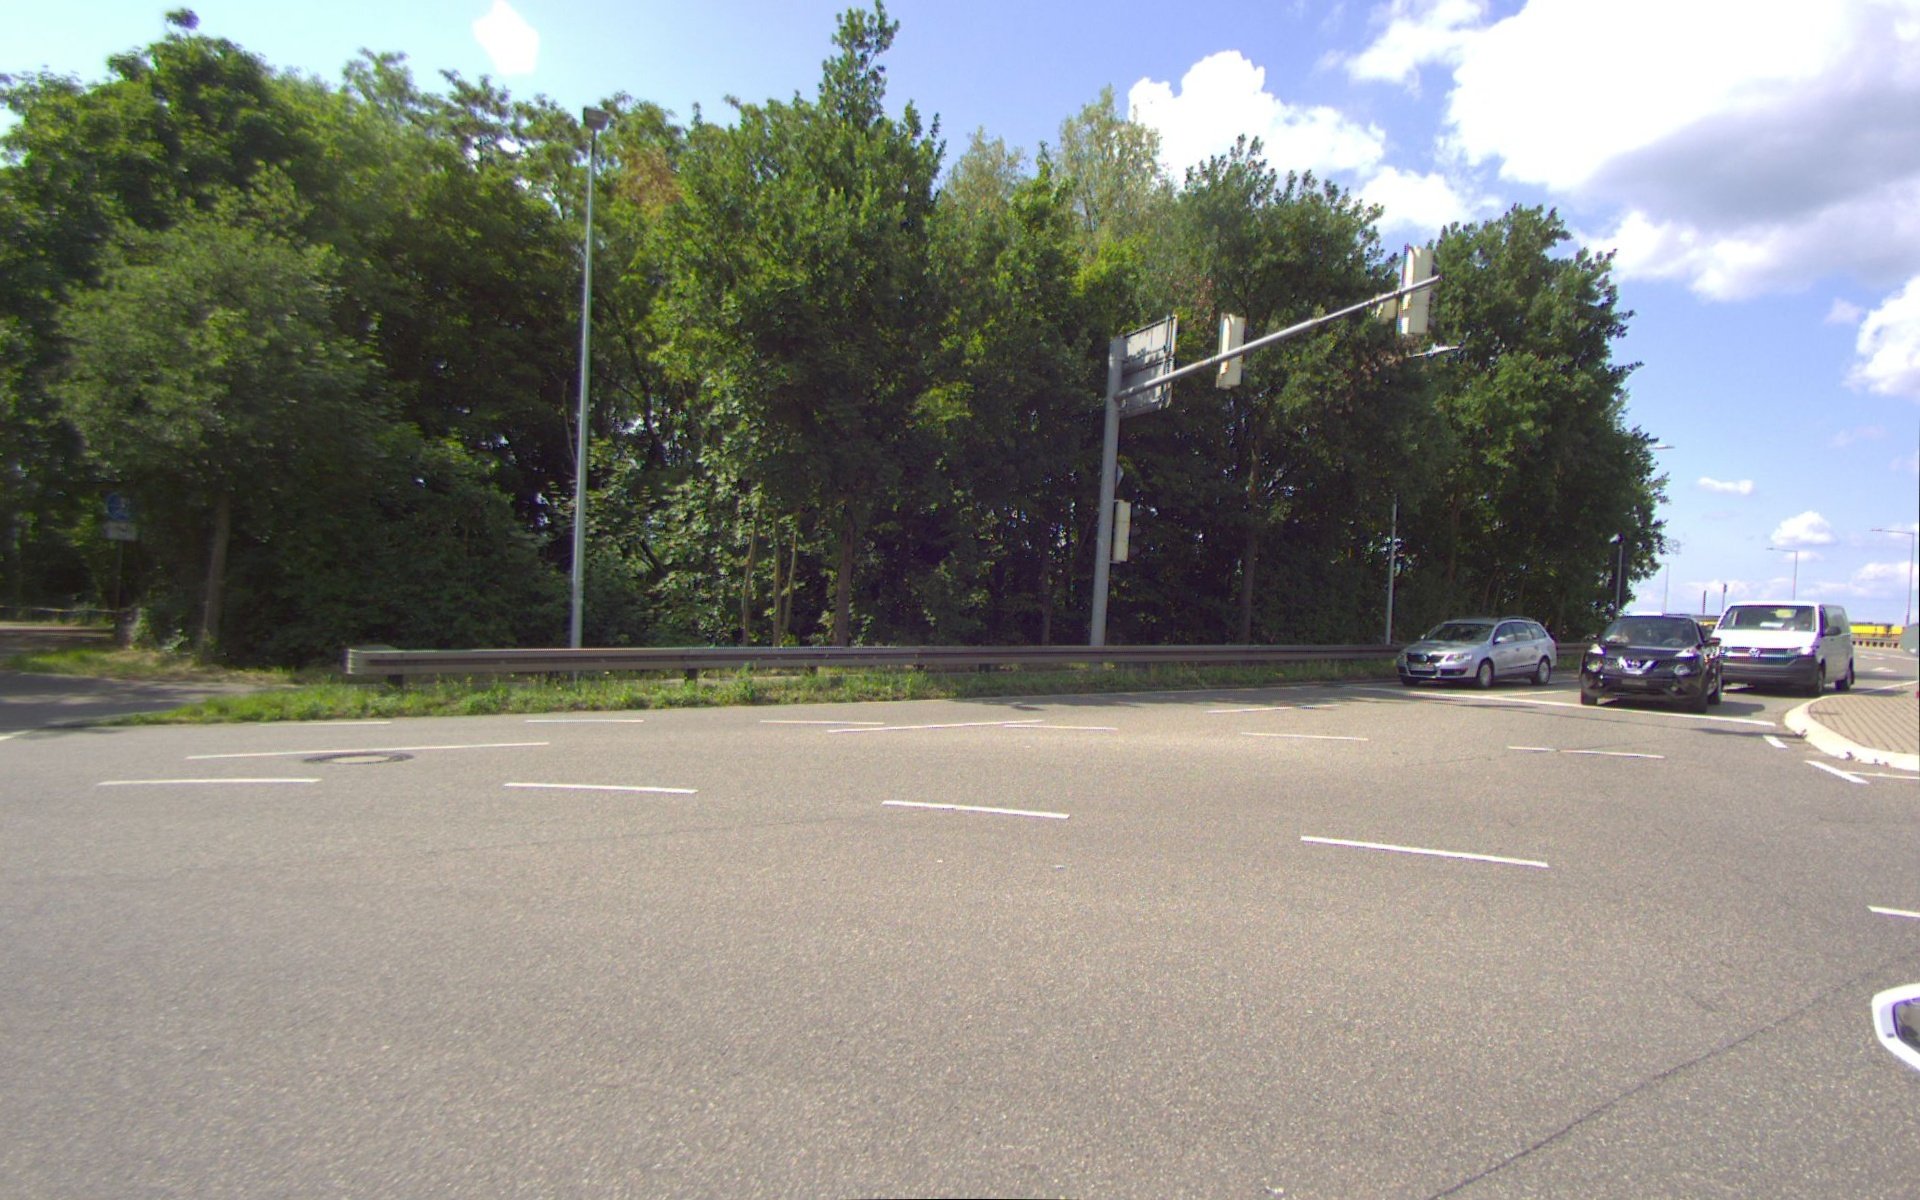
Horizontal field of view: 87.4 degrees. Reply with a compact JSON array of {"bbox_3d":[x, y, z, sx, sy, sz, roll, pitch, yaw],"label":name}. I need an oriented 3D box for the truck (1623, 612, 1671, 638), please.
[{"bbox_3d":[69.751,2.488,102.057,1.959,2.541,5.951,1,-1,13],"label":"truck"}]

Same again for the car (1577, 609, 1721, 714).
[{"bbox_3d":[11.981,0.981,17.371,1.678,1.578,3.804,1,0,40],"label":"car"}]

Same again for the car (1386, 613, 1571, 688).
[{"bbox_3d":[11.463,1.089,22.080,4.666,1.497,1.671,2,-2,-35],"label":"car"}]

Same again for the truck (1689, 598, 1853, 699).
[{"bbox_3d":[17.762,0.989,21.894,5.330,1.938,1.943,2,0,-42],"label":"truck"}]
